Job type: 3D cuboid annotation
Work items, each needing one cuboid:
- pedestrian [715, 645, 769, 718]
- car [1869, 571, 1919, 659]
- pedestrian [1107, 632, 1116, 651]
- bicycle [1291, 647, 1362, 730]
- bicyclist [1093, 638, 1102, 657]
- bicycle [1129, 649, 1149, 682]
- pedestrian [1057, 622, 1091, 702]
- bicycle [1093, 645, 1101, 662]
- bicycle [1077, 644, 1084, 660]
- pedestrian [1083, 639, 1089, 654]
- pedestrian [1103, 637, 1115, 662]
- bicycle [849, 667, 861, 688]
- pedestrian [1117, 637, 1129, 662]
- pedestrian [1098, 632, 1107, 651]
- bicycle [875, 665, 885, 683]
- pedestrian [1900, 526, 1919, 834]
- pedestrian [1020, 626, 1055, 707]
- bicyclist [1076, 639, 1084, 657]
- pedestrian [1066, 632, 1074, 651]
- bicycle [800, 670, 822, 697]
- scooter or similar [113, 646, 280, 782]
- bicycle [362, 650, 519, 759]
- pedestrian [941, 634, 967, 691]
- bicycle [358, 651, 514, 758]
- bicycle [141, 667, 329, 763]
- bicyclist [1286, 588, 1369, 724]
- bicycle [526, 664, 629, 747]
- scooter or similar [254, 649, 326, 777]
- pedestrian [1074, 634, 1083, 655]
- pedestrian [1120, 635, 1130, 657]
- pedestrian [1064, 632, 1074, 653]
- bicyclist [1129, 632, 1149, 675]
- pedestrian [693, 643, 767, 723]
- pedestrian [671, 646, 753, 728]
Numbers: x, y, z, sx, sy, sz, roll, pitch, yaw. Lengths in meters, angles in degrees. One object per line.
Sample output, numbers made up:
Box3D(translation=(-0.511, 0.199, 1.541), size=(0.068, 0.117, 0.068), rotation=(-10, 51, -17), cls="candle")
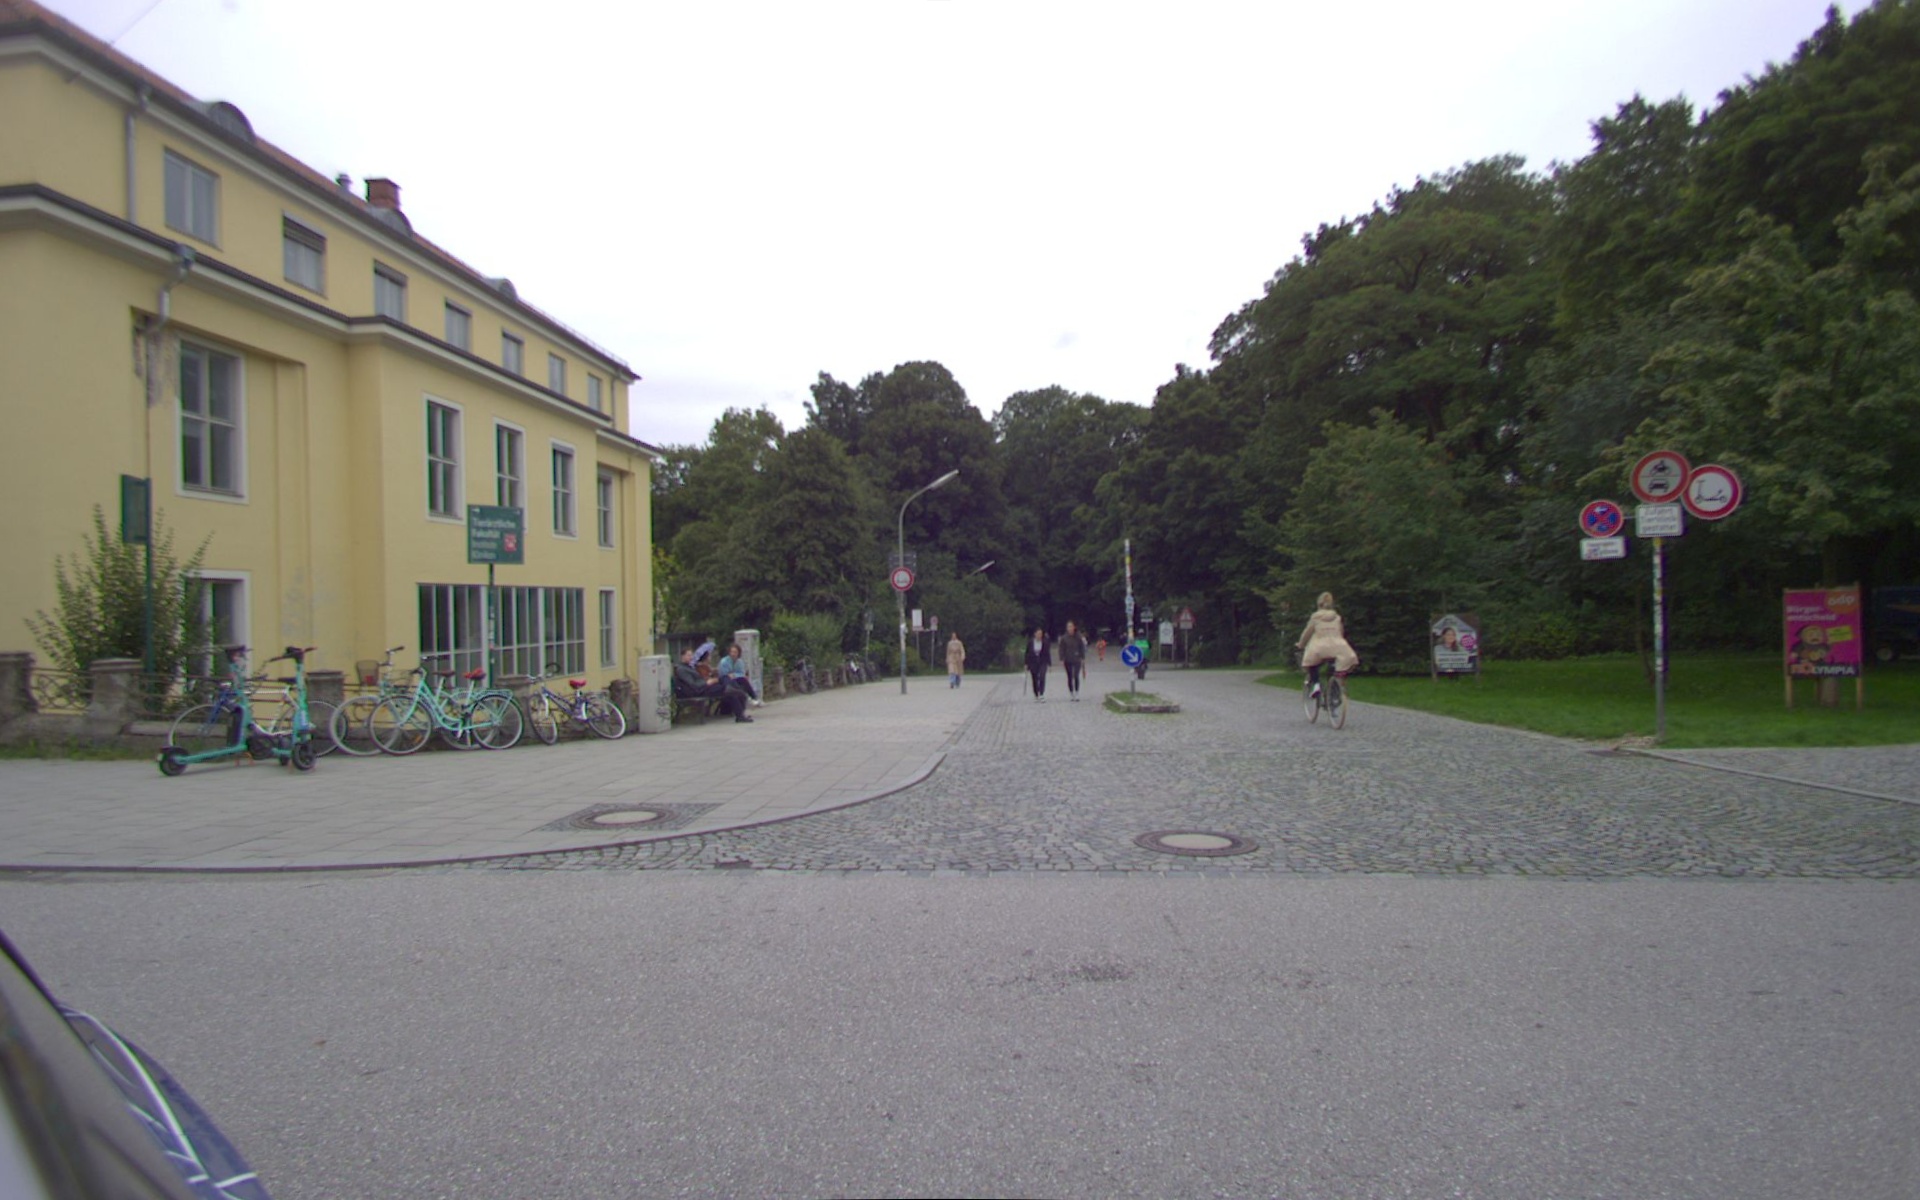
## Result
Box3D(translation=(-3.894, 1.453, 18.123), size=(0.874, 1.244, 0.551), rotation=(-2, -4, -6), cls="pedestrian")
Box3D(translation=(24.618, 0.298, 24.236), size=(3.960, 2.120, 1.882), rotation=(-3, -1, 36), cls="car")
Box3D(translation=(14.439, 3.957, 96.568), size=(0.733, 1.685, 0.920), rotation=(-3, -4, 5), cls="pedestrian")
Box3D(translation=(5.099, 1.206, 14.187), size=(0.477, 1.049, 1.941), rotation=(-1, -2, 7), cls="bicycle")
Box3D(translation=(9.463, 3.252, 69.883), size=(0.557, 1.275, 0.761), rotation=(-1, 1, 5), cls="bicyclist")
Box3D(translation=(5.862, 2.143, 33.244), size=(0.458, 1.068, 1.759), rotation=(-1, -3, 4), cls="bicycle")
Box3D(translation=(2.480, 1.357, 22.043), size=(0.631, 1.685, 0.772), rotation=(-3, -4, 5), cls="pedestrian")
Box3D(translation=(9.465, 3.669, 69.822), size=(0.458, 1.068, 1.759), rotation=(-1, 1, 4), cls="bicycle")
Box3D(translation=(9.221, 3.955, 77.540), size=(0.458, 1.068, 1.759), rotation=(-1, 1, 4), cls="bicycle")
Box3D(translation=(10.554, 3.889, 84.509), size=(0.466, 1.275, 0.447), rotation=(-1, 1, 5), cls="pedestrian")
Box3D(translation=(10.319, 3.406, 69.990), size=(0.678, 1.685, 0.772), rotation=(-3, -4, 5), cls="pedestrian")
Box3D(translation=(-3.508, 2.574, 33.822), size=(0.213, 0.681, 0.907), rotation=(0, -3, 7), cls="bicycle")
Box3D(translation=(11.398, 3.480, 70.728), size=(0.678, 1.685, 0.772), rotation=(-3, -4, 5), cls="pedestrian")
Box3D(translation=(13.587, 3.973, 96.646), size=(0.733, 1.685, 0.920), rotation=(-3, -4, 5), cls="pedestrian")
Box3D(translation=(-3.023, 2.788, 38.314), size=(0.239, 0.662, 0.907), rotation=(0, -3, 5), cls="bicycle")
Box3D(translation=(6.310, 0.482, 5.970), size=(0.699, 1.918, 0.802), rotation=(0, -3, 5), cls="pedestrian")
Box3D(translation=(1.687, 1.449, 21.953), size=(0.678, 1.685, 0.772), rotation=(-3, -4, 5), cls="pedestrian")
Box3D(translation=(9.230, 3.671, 77.549), size=(0.557, 1.275, 0.761), rotation=(-1, 1, 5), cls="bicyclist")
Box3D(translation=(9.829, 3.704, 90.341), size=(0.678, 1.685, 0.772), rotation=(-3, -4, 5), cls="pedestrian")
Box3D(translation=(-3.945, 2.200, 26.846), size=(0.213, 0.681, 0.904), rotation=(0, -3, 16), cls="bicycle")
Box3D(translation=(-7.572, 1.089, 10.110), size=(0.393, 1.257, 1.384), rotation=(-1, -3, 13), cls="scooter or similar")
Box3D(translation=(-6.094, 1.210, 11.950), size=(1.629, 1.207, 0.170), rotation=(4, -4, -44), cls="bicycle")
Box3D(translation=(-0.168, 1.944, 31.350), size=(0.646, 1.699, 0.973), rotation=(-3, -4, 5), cls="pedestrian")
Box3D(translation=(-6.221, 1.223, 12.103), size=(1.629, 1.200, 0.203), rotation=(4, -4, -44), cls="bicycle")
Box3D(translation=(-7.867, 1.245, 11.037), size=(1.626, 1.001, 0.249), rotation=(2, -3, -19), cls="bicycle")
Box3D(translation=(5.085, 0.764, 14.052), size=(0.846, 1.816, 0.765), rotation=(-2, -1, 5), cls="bicyclist")
Box3D(translation=(-5.137, 1.394, 13.697), size=(0.305, 1.046, 1.644), rotation=(0, -3, 19), cls="bicycle")
Box3D(translation=(-6.755, 1.106, 10.191), size=(1.117, 1.222, 0.319), rotation=(-3, -3, 42), cls="scooter or similar")
Box3D(translation=(9.924, 3.728, 84.709), size=(0.678, 1.685, 0.772), rotation=(-3, -4, 5), cls="pedestrian")
Box3D(translation=(13.189, 3.666, 80.899), size=(0.678, 1.685, 0.772), rotation=(-3, -4, 5), cls="pedestrian")
Box3D(translation=(8.950, 3.522, 83.010), size=(0.678, 1.685, 0.772), rotation=(-3, -4, 5), cls="pedestrian")
Box3D(translation=(5.878, 1.758, 33.273), size=(0.557, 1.385, 0.760), rotation=(-1, -3, 5), cls="bicyclist")
Box3D(translation=(-3.959, 1.426, 17.476), size=(1.160, 1.303, 0.640), rotation=(-2, -4, -6), cls="pedestrian")
Box3D(translation=(-4.046, 1.407, 16.538), size=(1.198, 1.257, 0.640), rotation=(-2, -4, -6), cls="pedestrian")
